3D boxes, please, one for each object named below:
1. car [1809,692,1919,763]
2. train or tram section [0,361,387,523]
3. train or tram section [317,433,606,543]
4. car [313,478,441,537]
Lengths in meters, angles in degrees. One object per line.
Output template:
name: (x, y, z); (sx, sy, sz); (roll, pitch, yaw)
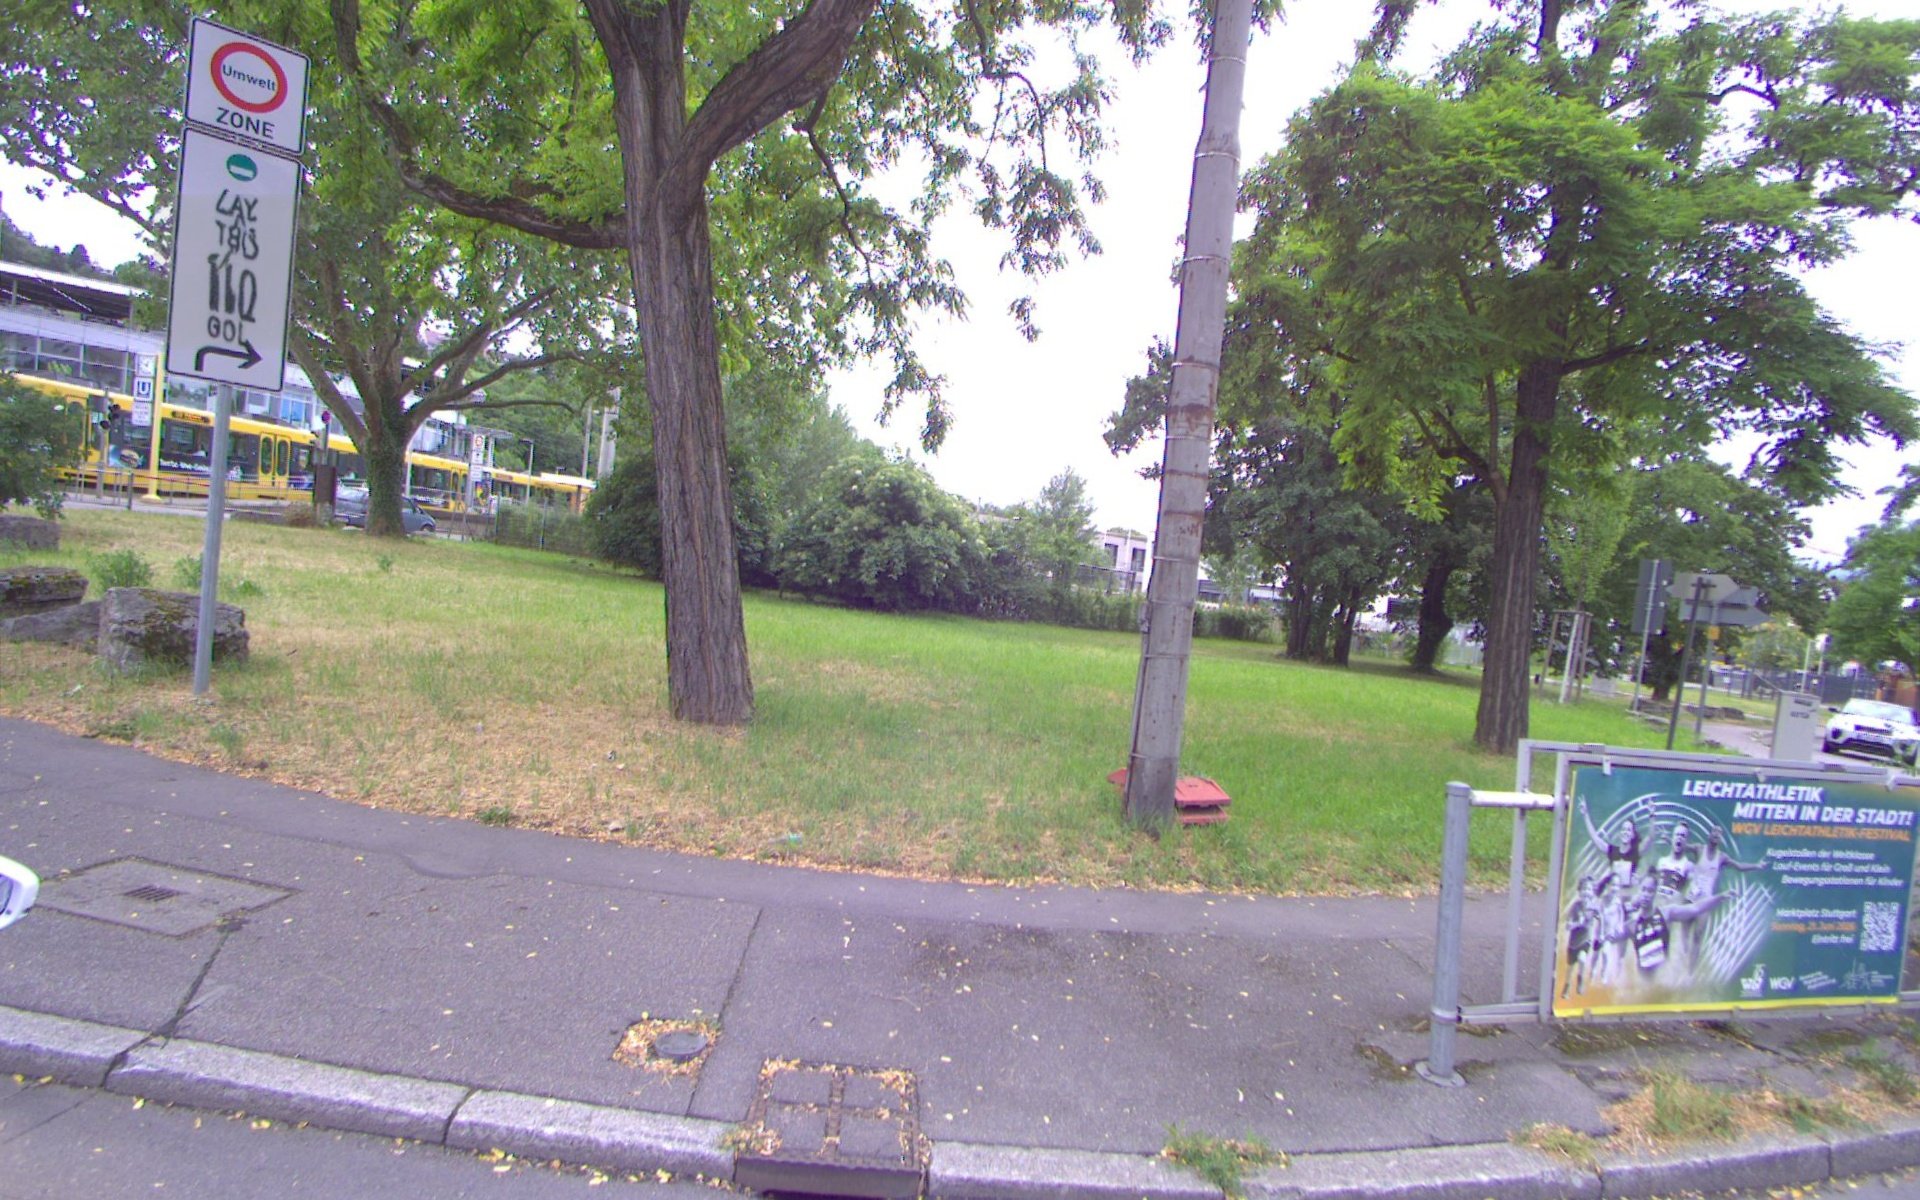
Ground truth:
car: (24.907, 3.441, 27.709); (2.017, 1.555, 3.926); (5, -1, 37)
train or tram section: (-29.262, -5.505, 36.270); (3.215, 3.713, 19.168); (7, 2, 10)
train or tram section: (-26.019, -5.623, 55.142); (3.215, 3.713, 19.168); (7, 2, 10)
car: (-20.952, -3.294, 36.325); (1.768, 1.605, 3.887); (7, 2, 11)
